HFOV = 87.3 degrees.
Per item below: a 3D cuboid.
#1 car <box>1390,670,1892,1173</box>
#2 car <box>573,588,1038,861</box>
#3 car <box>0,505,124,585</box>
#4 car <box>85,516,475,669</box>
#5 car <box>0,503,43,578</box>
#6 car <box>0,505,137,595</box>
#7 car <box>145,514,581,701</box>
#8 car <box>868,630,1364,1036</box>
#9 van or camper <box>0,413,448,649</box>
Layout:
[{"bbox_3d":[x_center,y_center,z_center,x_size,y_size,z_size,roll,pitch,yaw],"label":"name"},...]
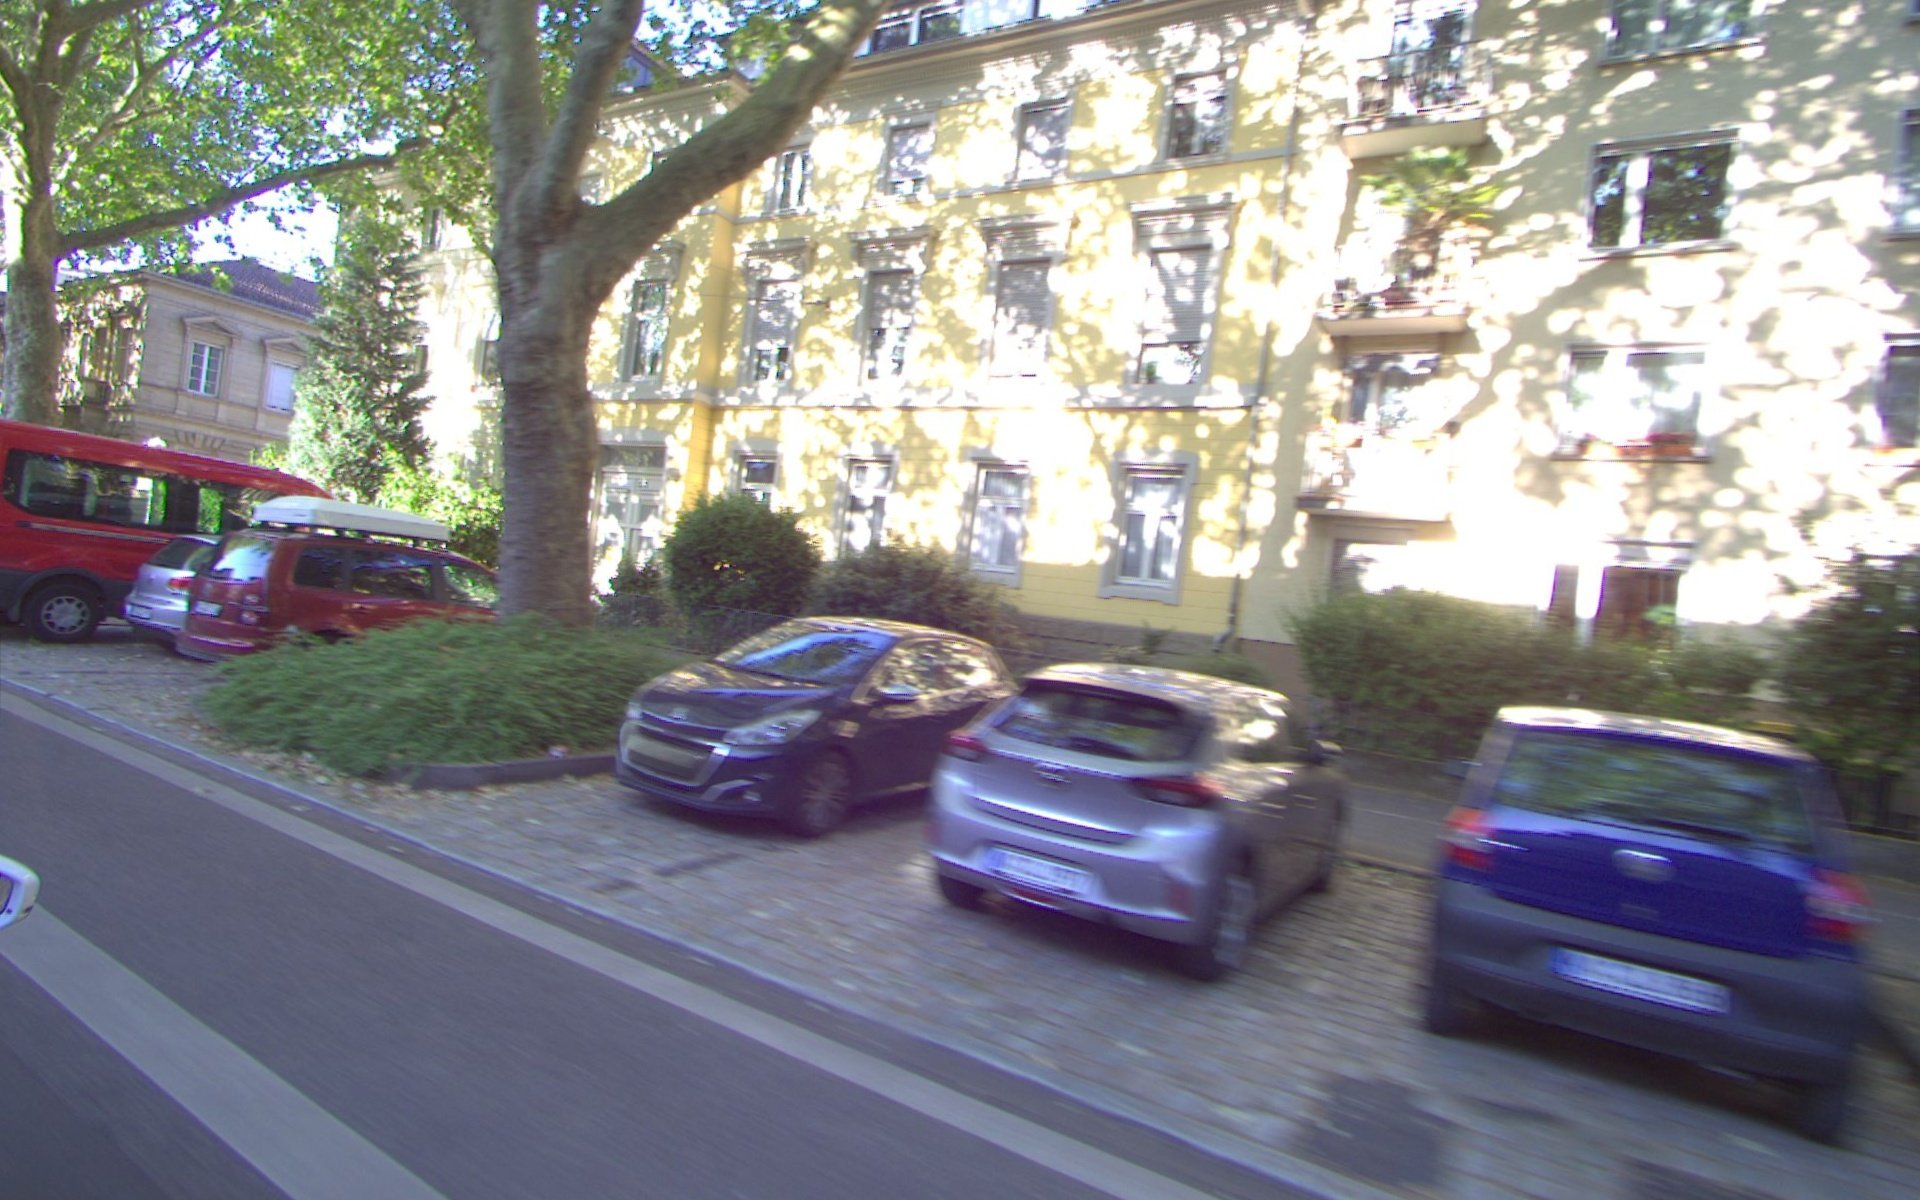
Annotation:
[{"bbox_3d":[3.518,1.328,5.520,1.515,1.618,3.601,6,-2,31],"label":"car"},{"bbox_3d":[-1.002,0.870,8.205,1.665,1.543,3.674,7,0,31],"label":"car"},{"bbox_3d":[-19.330,-1.210,19.994,1.651,1.404,3.759,7,0,26],"label":"car"},{"bbox_3d":[-8.541,0.001,12.983,1.640,1.548,3.741,7,0,28],"label":"car"},{"bbox_3d":[-22.047,-1.534,21.094,1.653,1.525,3.760,7,-3,32],"label":"car"},{"bbox_3d":[-17.916,-1.047,18.217,1.731,1.434,4.289,7,0,33],"label":"car"},{"bbox_3d":[-6.494,0.142,11.399,1.737,1.669,3.824,5,-1,28],"label":"car"},{"bbox_3d":[1.233,1.109,6.217,1.665,1.536,3.599,7,0,31],"label":"car"},{"bbox_3d":[-10.475,-0.779,13.698,2.248,2.551,5.823,8,1,29],"label":"van or camper"}]
